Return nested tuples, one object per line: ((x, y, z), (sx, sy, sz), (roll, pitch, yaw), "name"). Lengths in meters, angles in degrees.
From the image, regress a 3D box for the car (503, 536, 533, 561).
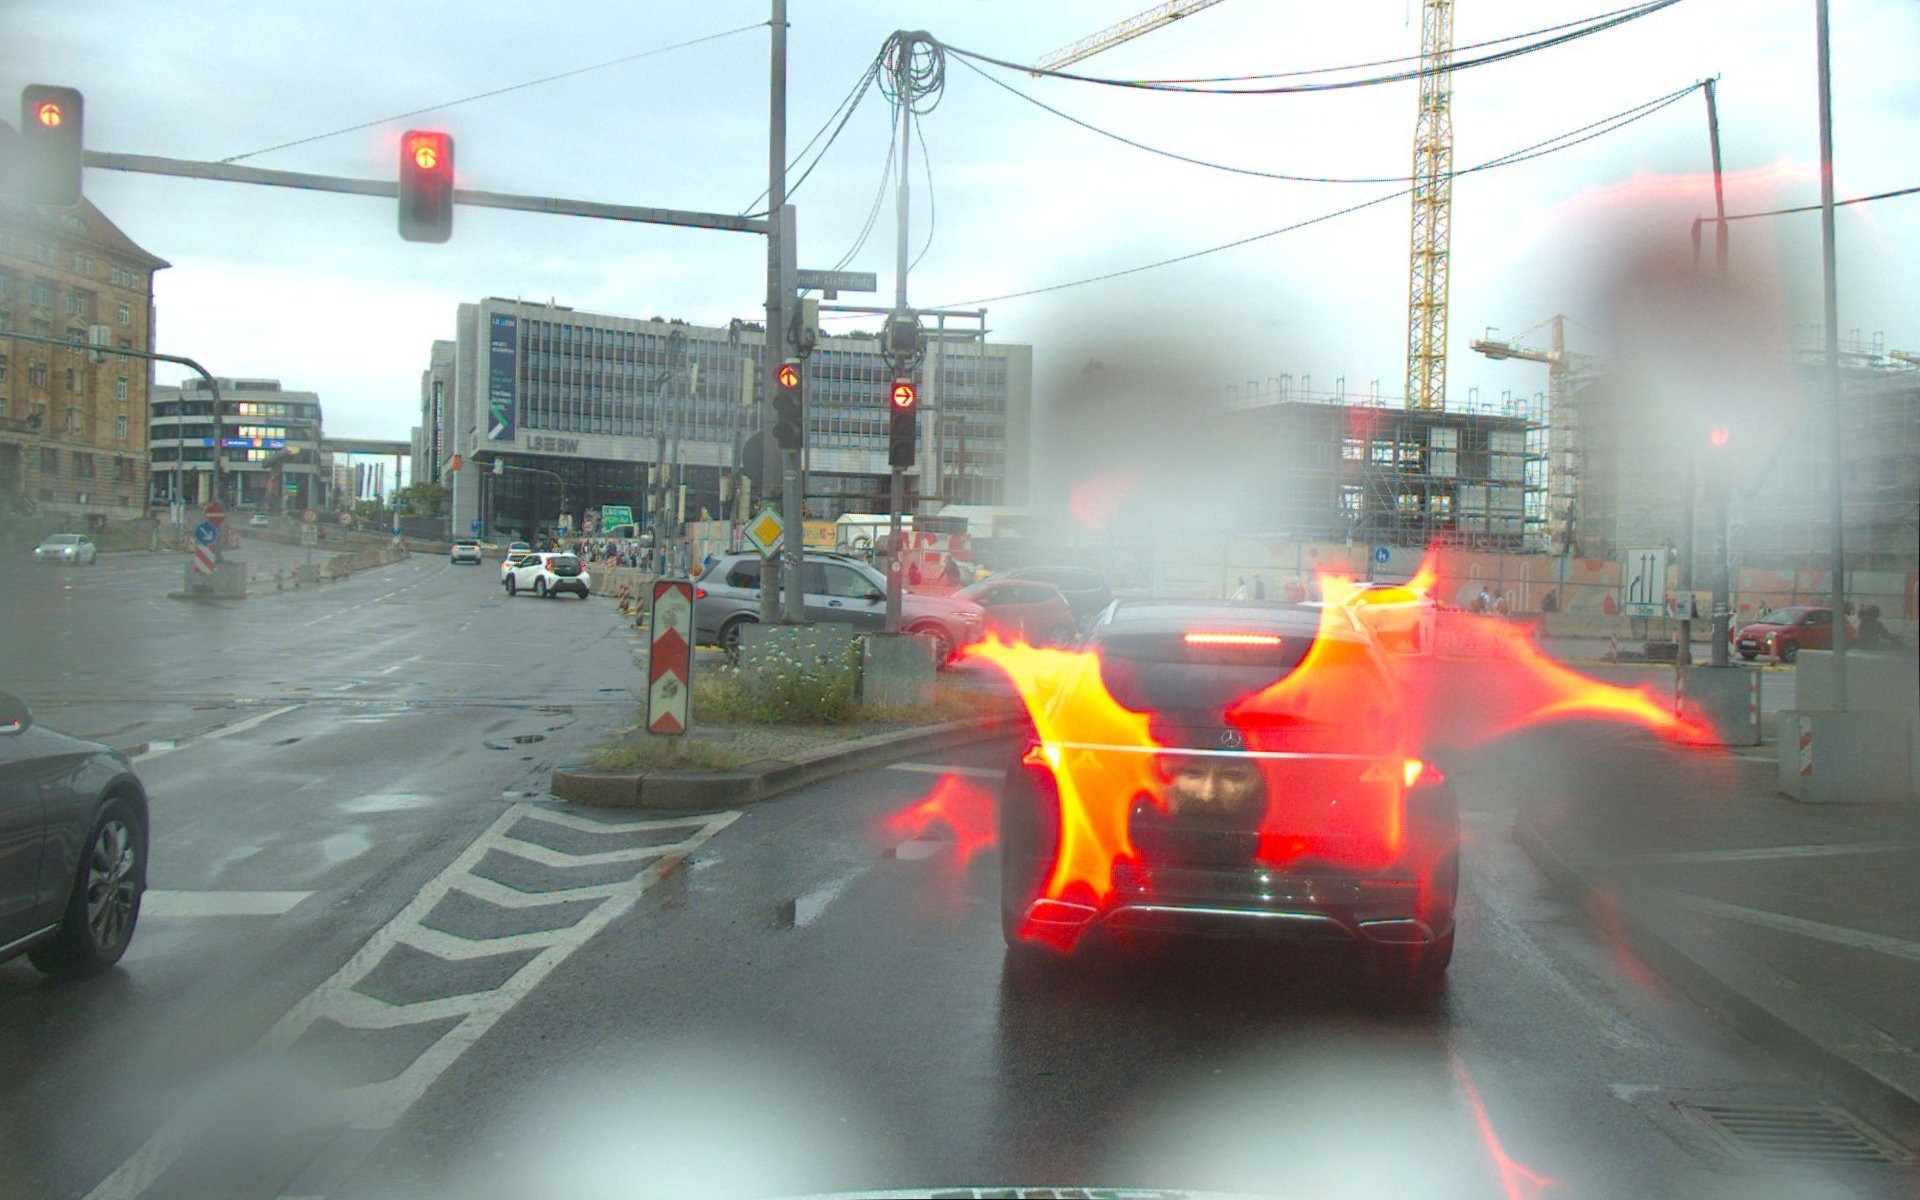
((-32.940, -3.837, 123.222), (1.704, 1.668, 3.412), (2, 3, -23), "car")

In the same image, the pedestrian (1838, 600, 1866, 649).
((35.401, 0.973, 65.652), (0.784, 1.931, 0.564), (2, -1, -16), "pedestrian")

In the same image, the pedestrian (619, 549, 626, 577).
((-23.510, -2.598, 115.261), (0.355, 1.931, 0.574), (2, -1, -14), "pedestrian")

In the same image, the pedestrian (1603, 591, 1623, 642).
((25.170, 0.645, 63.714), (0.565, 1.931, 0.361), (2, -1, -14), "pedestrian")

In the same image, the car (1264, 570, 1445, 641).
((9.859, 0.146, 41.380), (3.981, 1.579, 1.988), (2, -1, -20), "car")

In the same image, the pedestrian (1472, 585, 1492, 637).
((19.459, 0.405, 61.658), (0.564, 1.931, 0.361), (2, -1, -12), "pedestrian")

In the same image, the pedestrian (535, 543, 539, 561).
((-46.947, -5.316, 183.615), (0.355, 1.931, 0.574), (2, -1, -15), "pedestrian")

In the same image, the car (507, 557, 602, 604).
((-13.850, -0.674, 56.402), (1.769, 1.499, 3.508), (3, -1, -39), "car")

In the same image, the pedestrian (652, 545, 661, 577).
((-18.453, -2.386, 100.510), (0.355, 1.931, 0.573), (2, -1, -18), "pedestrian")

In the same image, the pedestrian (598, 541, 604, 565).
((-30.360, -3.975, 139.781), (0.355, 1.931, 0.573), (2, -1, -18), "pedestrian")

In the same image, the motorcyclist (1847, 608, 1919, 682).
((18.039, 0.876, 32.312), (0.926, 1.382, 0.849), (2, -1, -2), "motorcyclist")

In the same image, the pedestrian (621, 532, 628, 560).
((-24.116, -3.887, 118.765), (0.355, 1.931, 0.573), (2, -1, -18), "pedestrian")

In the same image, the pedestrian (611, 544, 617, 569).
((-27.163, -3.406, 129.725), (0.355, 1.931, 0.573), (2, -1, -18), "pedestrian")

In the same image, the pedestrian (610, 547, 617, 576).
((-23.519, -2.633, 112.249), (0.355, 1.931, 0.573), (2, -1, -18), "pedestrian")

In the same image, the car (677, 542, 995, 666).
((-2.015, 0.074, 27.755), (4.978, 1.829, 2.001), (2, -1, 6), "car")

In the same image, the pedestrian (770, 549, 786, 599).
((-7.036, -1.002, 63.916), (0.358, 1.931, 0.570), (3, -1, -33), "pedestrian")

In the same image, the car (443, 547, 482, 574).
((-33.728, -2.689, 112.043), (1.968, 1.668, 3.968), (2, -1, -25), "car")

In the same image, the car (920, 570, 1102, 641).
((1.077, 0.126, 35.193), (3.481, 1.327, 1.656), (2, -1, -20), "car")

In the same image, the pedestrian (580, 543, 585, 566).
((-32.402, -3.938, 141.988), (0.355, 1.931, 0.573), (2, -1, -18), "pedestrian")

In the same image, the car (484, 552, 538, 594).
((-20.569, -1.213, 75.660), (1.964, 1.797, 4.392), (2, -1, -20), "car")

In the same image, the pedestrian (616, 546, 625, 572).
((-25.338, -3.062, 123.548), (0.511, 1.931, 0.573), (2, -1, -18), "pedestrian")

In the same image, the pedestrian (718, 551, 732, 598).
((-9.725, -1.063, 68.493), (0.357, 1.931, 0.571), (2, -1, -27), "pedestrian")

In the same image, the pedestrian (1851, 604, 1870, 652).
((37.040, 1.147, 68.007), (0.565, 1.931, 0.360), (2, -1, -17), "pedestrian")

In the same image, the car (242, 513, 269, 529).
((-90.668, -10.121, 212.859), (1.983, 1.847, 3.938), (3, -1, -42), "car")

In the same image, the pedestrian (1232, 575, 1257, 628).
((10.561, 0.042, 61.446), (0.645, 1.934, 0.629), (2, -1, -15), "pedestrian")

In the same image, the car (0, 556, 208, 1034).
((-3.723, 0.595, 4.415), (1.749, 1.427, 4.481), (2, 1, -6), "car")

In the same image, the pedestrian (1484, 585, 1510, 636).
((20.871, 0.410, 64.283), (0.645, 1.934, 0.629), (2, -1, -15), "pedestrian")

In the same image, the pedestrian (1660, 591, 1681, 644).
((26.428, 0.659, 61.506), (0.564, 1.931, 0.361), (2, -1, -12), "pedestrian")

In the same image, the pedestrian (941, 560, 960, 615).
((-0.329, -0.440, 58.438), (0.564, 1.931, 0.361), (2, -1, -9), "pedestrian")

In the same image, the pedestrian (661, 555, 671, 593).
((-15.448, -1.367, 86.947), (0.355, 1.931, 0.573), (2, -1, -18), "pedestrian")

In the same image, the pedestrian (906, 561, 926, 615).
((-1.601, -0.419, 60.059), (0.562, 1.931, 0.362), (2, -1, 13), "pedestrian")

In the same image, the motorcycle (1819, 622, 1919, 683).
((18.040, 1.026, 32.295), (2.093, 1.128, 0.851), (2, -1, -3), "motorcycle")

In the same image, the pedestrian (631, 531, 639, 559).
((-22.727, -3.870, 115.670), (0.355, 1.931, 0.573), (2, -1, -18), "pedestrian")

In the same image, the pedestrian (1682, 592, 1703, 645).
((27.109, 0.682, 61.226), (0.564, 1.931, 0.361), (2, -1, -12), "pedestrian")

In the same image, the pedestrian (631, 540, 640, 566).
((-24.675, -3.560, 125.640), (0.511, 1.931, 0.573), (2, -1, -18), "pedestrian")

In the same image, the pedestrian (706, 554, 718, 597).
((-11.495, -1.133, 76.785), (0.356, 1.931, 0.572), (2, -1, -22), "pedestrian")

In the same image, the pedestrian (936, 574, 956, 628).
((-0.504, 0.041, 59.875), (0.562, 1.931, 0.362), (2, -1, 13), "pedestrian")

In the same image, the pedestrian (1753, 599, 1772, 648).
((32.240, 0.938, 66.444), (0.564, 1.931, 0.361), (2, -1, -12), "pedestrian")

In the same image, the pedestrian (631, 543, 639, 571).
((-22.397, -2.962, 113.939), (0.355, 1.931, 0.573), (2, -1, -18), "pedestrian")

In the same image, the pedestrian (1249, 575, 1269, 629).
((10.976, 0.074, 60.687), (0.564, 1.931, 0.361), (2, -1, -12), "pedestrian")

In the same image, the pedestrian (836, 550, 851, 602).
((-4.409, -0.916, 62.744), (0.356, 1.931, 0.572), (2, -1, -22), "pedestrian")

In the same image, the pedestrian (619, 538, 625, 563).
((-26.552, -3.853, 129.922), (0.355, 1.931, 0.573), (2, -1, -18), "pedestrian")

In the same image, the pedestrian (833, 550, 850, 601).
((-4.492, -0.920, 62.743), (0.358, 1.931, 0.569), (3, -1, -35), "pedestrian")

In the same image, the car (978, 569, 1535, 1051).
((1.165, 0.740, 7.681), (1.851, 1.571, 3.995), (2, -1, 4), "car")

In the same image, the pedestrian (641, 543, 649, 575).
((-19.135, -2.498, 100.467), (0.355, 1.931, 0.573), (2, -1, -18), "pedestrian")

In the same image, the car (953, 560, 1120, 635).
((1.983, -0.056, 43.272), (3.924, 1.764, 1.991), (2, -1, -17), "car")

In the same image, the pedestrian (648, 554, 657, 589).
((-17.594, -1.629, 94.672), (0.355, 1.931, 0.573), (2, -1, -18), "pedestrian")

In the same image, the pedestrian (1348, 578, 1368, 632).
((14.379, 0.181, 59.782), (0.564, 1.931, 0.361), (2, -1, -12), "pedestrian")

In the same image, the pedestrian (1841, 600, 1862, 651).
((34.121, 0.971, 63.290), (0.564, 1.931, 0.361), (2, -1, -12), "pedestrian")

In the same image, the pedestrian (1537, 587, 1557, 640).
((22.020, 0.507, 62.074), (0.564, 1.931, 0.361), (2, -1, -12), "pedestrian")

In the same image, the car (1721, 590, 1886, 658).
((23.807, 0.669, 46.710), (3.925, 1.738, 1.990), (2, -1, -18), "car")

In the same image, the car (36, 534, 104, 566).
((-41.359, -2.286, 76.915), (1.737, 1.282, 3.986), (2, -1, -13), "car")

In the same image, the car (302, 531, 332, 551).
((-71.493, -6.517, 183.885), (1.980, 2.049, 3.945), (3, -1, -39), "car")
